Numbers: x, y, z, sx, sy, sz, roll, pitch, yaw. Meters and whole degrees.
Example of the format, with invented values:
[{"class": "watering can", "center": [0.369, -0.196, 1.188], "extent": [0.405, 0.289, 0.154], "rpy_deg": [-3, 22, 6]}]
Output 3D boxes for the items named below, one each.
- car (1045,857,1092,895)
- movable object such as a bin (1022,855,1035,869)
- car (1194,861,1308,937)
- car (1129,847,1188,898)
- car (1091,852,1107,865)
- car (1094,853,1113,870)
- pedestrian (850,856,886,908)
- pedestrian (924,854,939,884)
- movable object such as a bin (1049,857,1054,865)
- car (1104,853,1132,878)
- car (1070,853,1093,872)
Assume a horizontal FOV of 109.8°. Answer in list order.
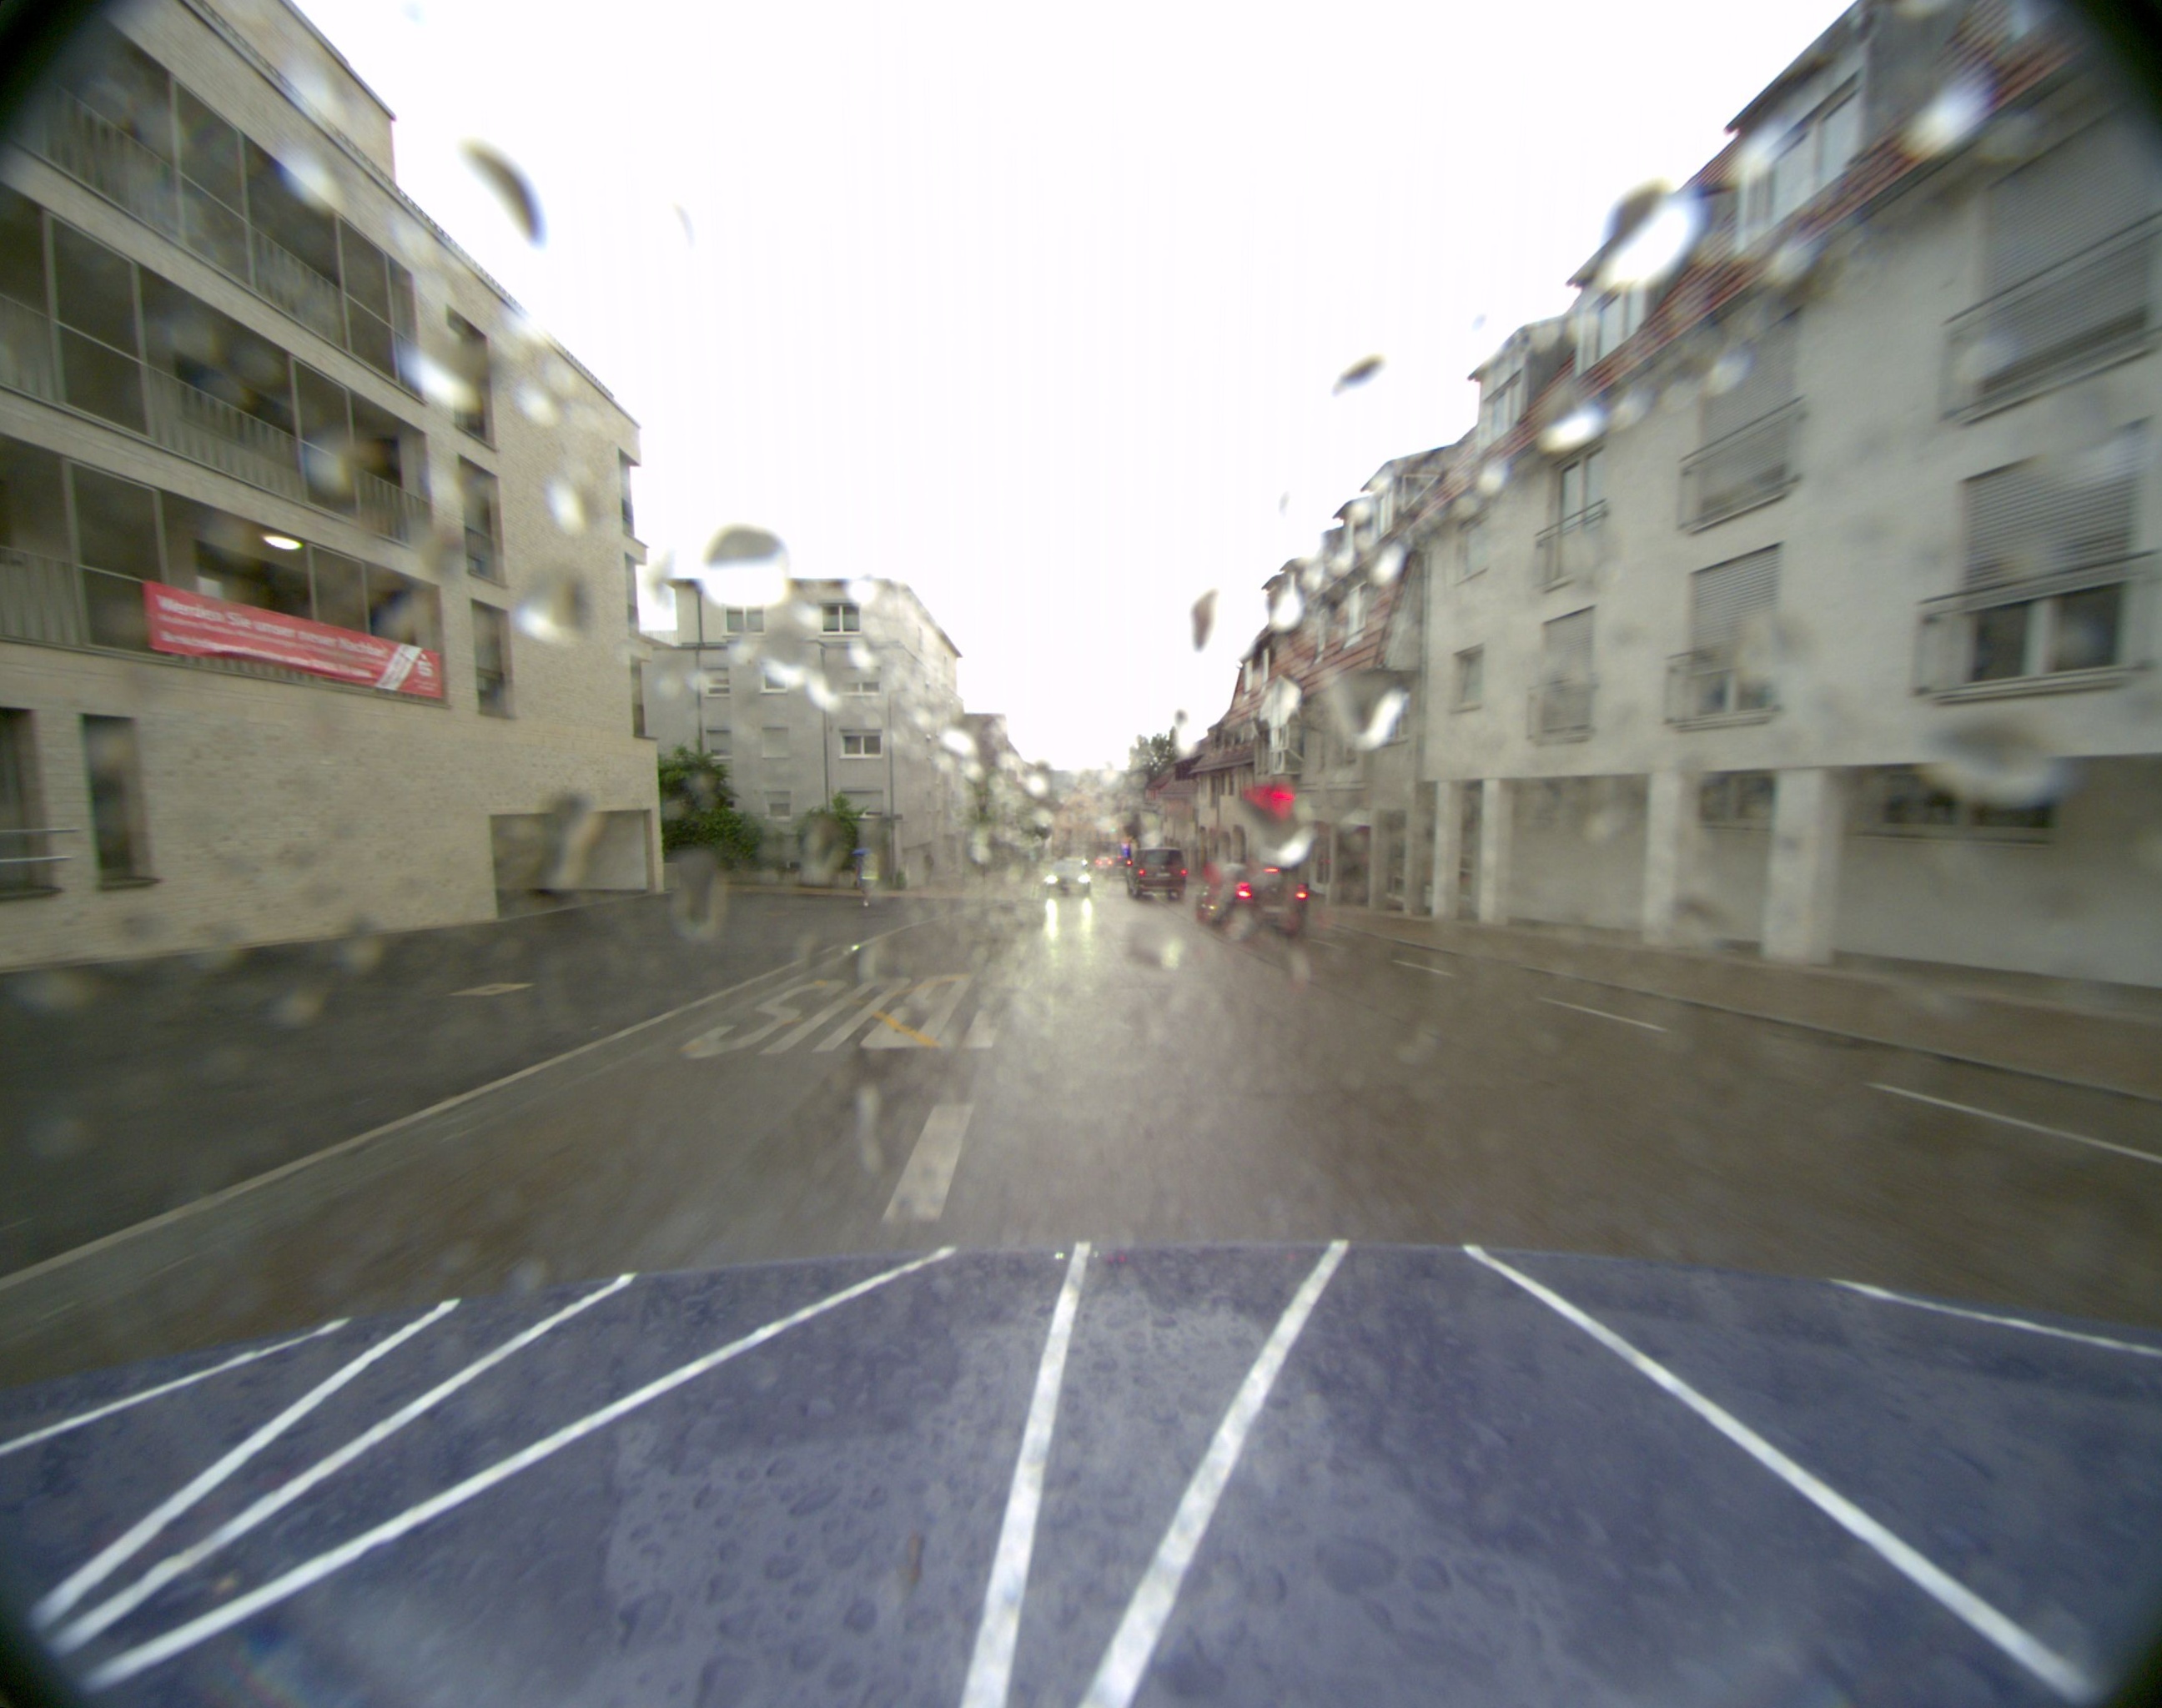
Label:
[{"class": "car", "center": [-0.509, 0.924, 34.069], "extent": [1.967, 1.549, 4.622], "rpy_deg": [0, 0, 0]}, {"class": "movable object such as a bin", "center": [-5.341, 0.806, 77.334], "extent": [1.237, 1.327, 1.172], "rpy_deg": [1, 0, 1]}, {"class": "car", "center": [3.629, 0.896, 16.864], "extent": [1.692, 1.435, 3.909], "rpy_deg": [0, 0, 0]}, {"class": "car", "center": [3.032, 0.668, 30.745], "extent": [1.936, 1.896, 5.042], "rpy_deg": [0, 0, 0]}, {"class": "car", "center": [2.008, 0.494, 86.751], "extent": [1.681, 1.501, 3.588], "rpy_deg": [0, 0, -2]}, {"class": "car", "center": [2.083, 0.714, 71.119], "extent": [1.681, 1.501, 3.588], "rpy_deg": [0, 0, 0]}, {"class": "pedestrian", "center": [-6.649, 0.861, 23.784], "extent": [0.737, 1.533, 1.038], "rpy_deg": [3, 1, 2]}, {"class": "pedestrian", "center": [-7.839, 0.776, 39.964], "extent": [0.692, 1.547, 0.710], "rpy_deg": [-1, 1, -7]}, {"class": "movable object such as a bin", "center": [-3.764, 0.890, 95.824], "extent": [0.596, 1.022, 0.476], "rpy_deg": [2, 1, 1]}, {"class": "car", "center": [2.576, 0.803, 53.824], "extent": [1.786, 1.684, 4.459], "rpy_deg": [0, 0, 0]}, {"class": "car", "center": [0.063, 0.735, 66.131], "extent": [1.967, 1.598, 4.384], "rpy_deg": [0, -1, 1]}]
